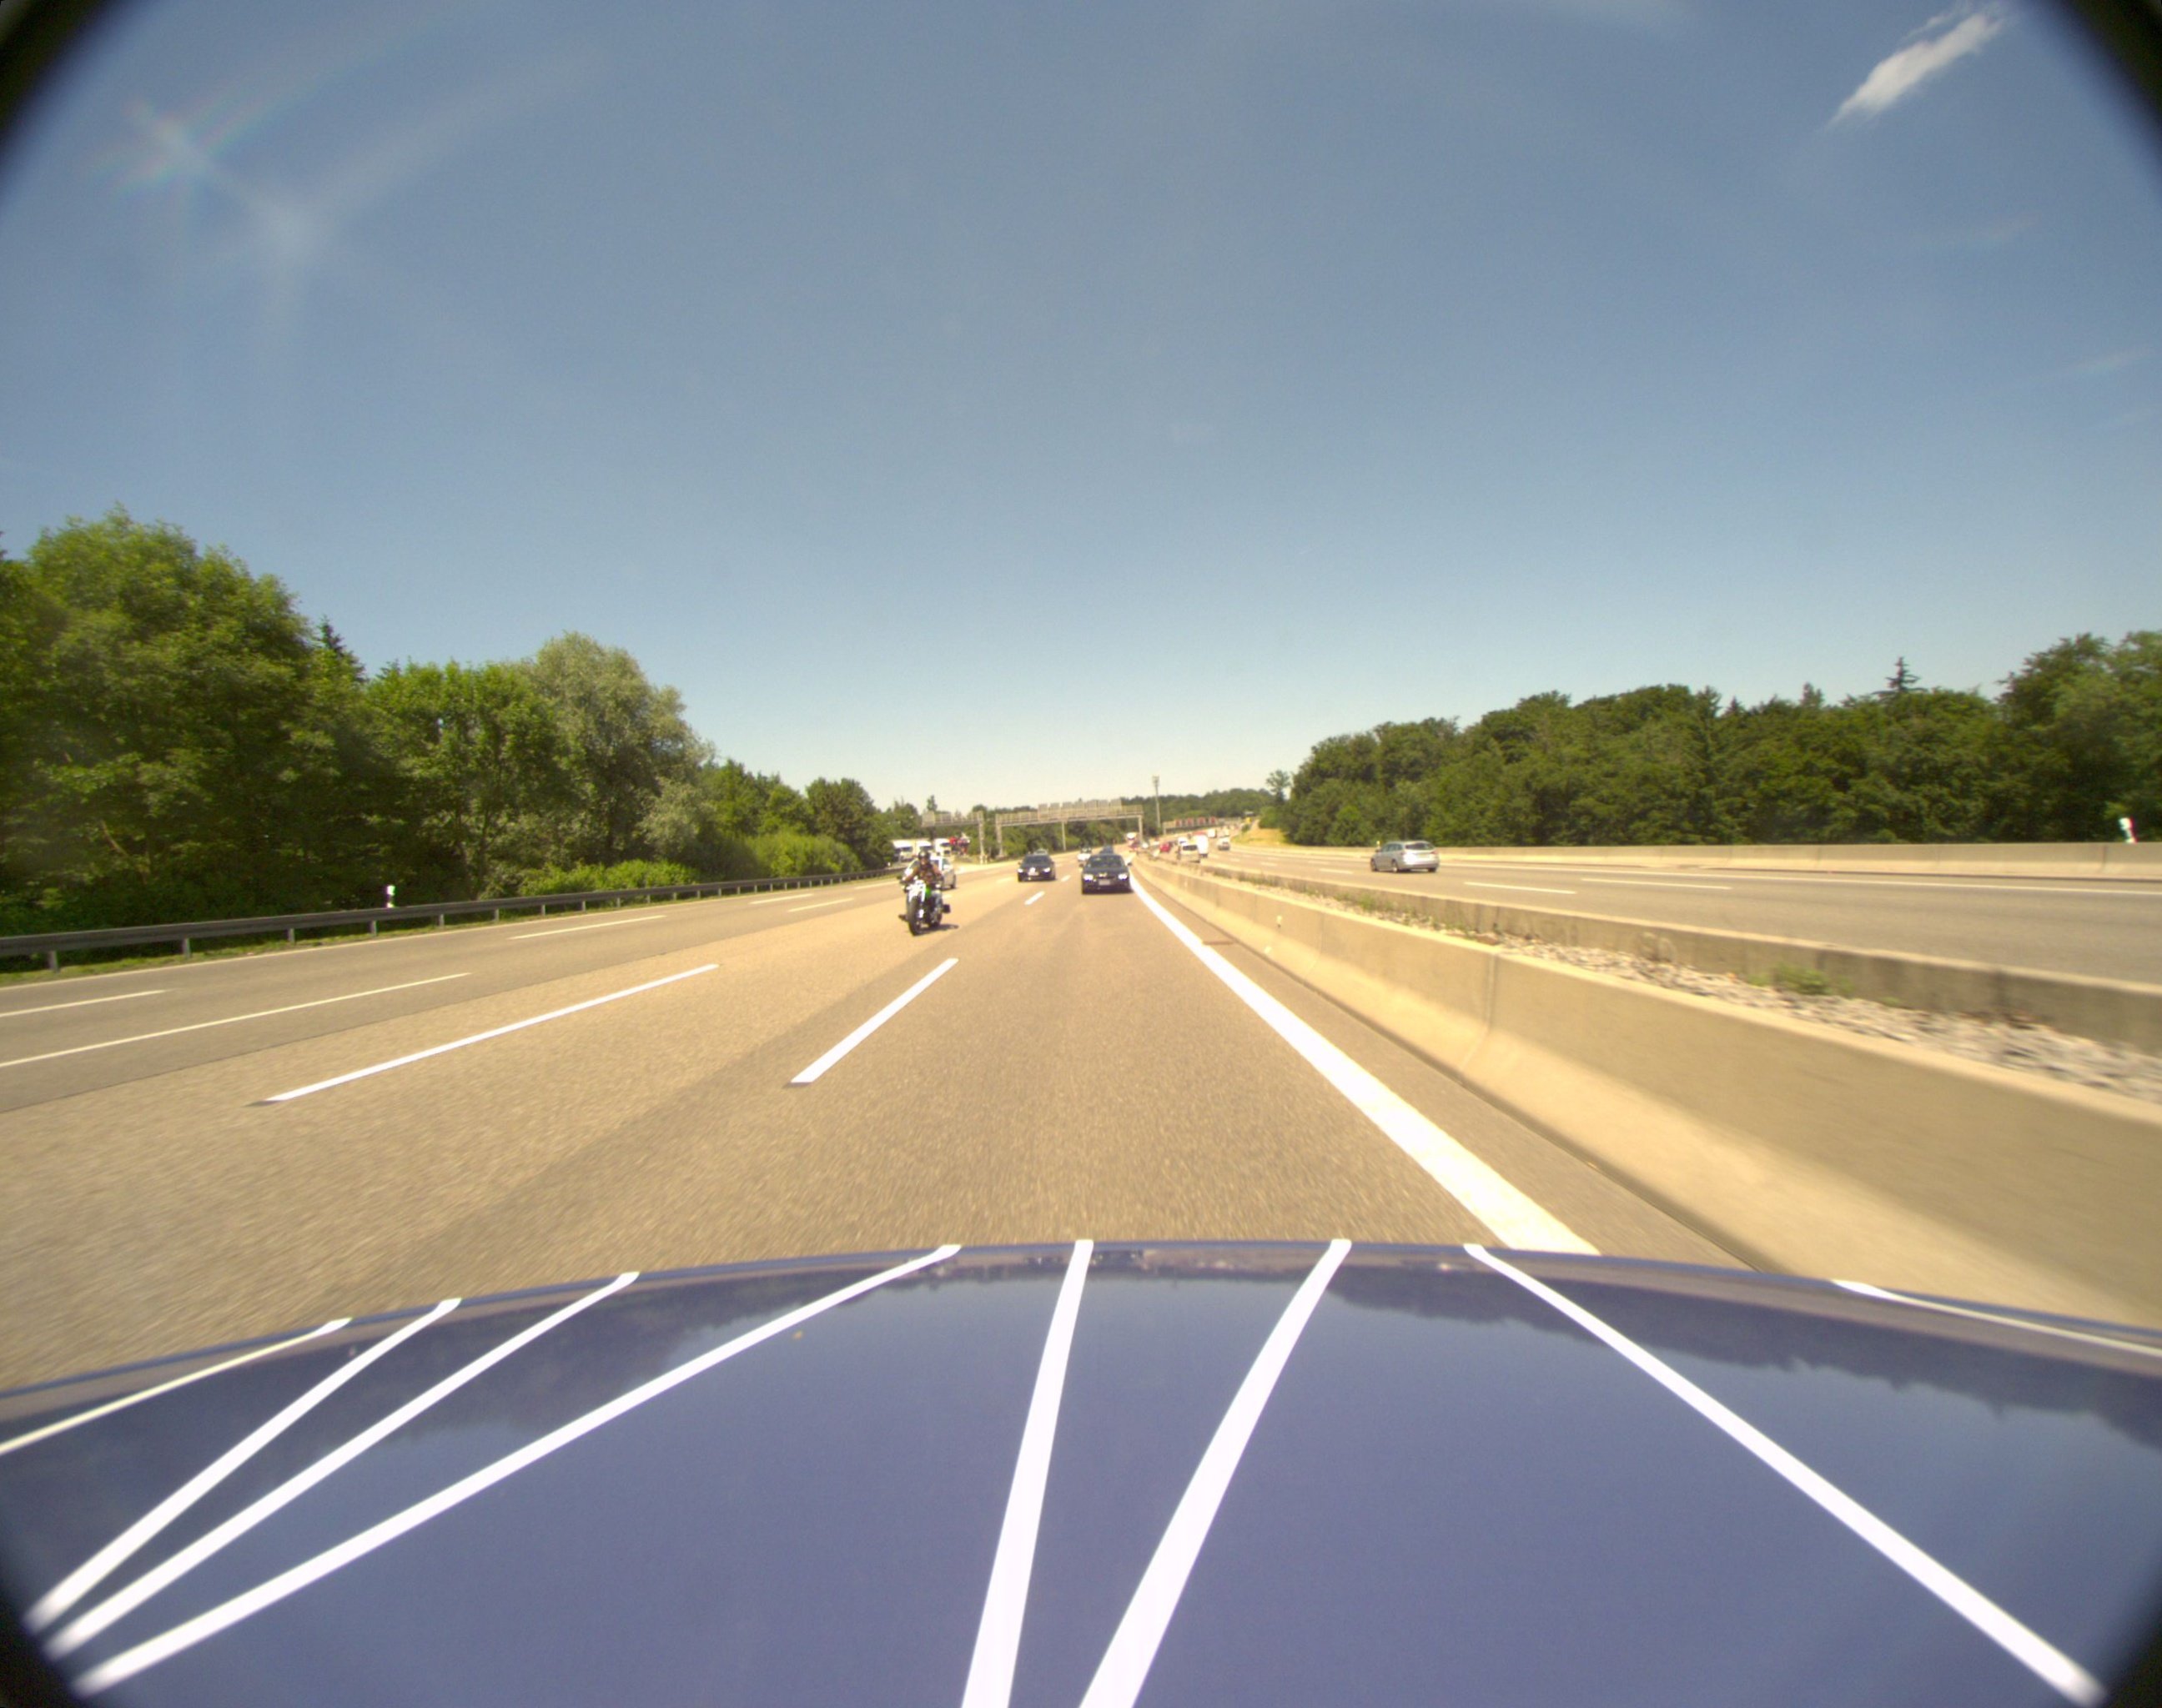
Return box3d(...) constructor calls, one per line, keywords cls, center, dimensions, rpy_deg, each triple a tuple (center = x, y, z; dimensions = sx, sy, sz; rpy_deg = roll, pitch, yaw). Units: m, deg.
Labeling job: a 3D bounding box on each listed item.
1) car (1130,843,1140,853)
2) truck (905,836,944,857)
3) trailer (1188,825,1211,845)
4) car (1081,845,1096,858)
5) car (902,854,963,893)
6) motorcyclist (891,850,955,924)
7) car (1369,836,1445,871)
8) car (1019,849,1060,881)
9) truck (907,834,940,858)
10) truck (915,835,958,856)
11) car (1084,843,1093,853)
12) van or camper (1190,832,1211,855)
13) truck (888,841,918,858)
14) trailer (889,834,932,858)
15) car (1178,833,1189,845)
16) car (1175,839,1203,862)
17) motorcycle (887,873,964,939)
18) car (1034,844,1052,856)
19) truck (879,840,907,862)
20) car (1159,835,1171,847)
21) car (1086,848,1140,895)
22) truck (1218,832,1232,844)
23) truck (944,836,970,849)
box3d(cls="car", center=(11.753, -1.315, 166.335), dimensions=(1.998, 2.002, 4.000), rpy_deg=(-3, 1, 4))
box3d(cls="truck", center=(-35.381, -1.661, 171.391), dimensions=(2.836, 4.436, 12.028), rpy_deg=(-6, 4, -42))
box3d(cls="trailer", center=(26.759, -4.290, 172.238), dimensions=(3.844, 4.256, 14.476), rpy_deg=(-3, 1, 4))
box3d(cls="car", center=(0.969, -0.278, 97.153), dimensions=(1.729, 1.522, 3.740), rpy_deg=(0, 3, 2))
box3d(cls="car", center=(-6.515, 0.796, 33.771), dimensions=(1.754, 1.510, 4.483), rpy_deg=(-2, 1, 0))
box3d(cls="motorcyclist", center=(-3.207, 0.659, 15.501), dimensions=(0.854, 1.419, 1.024), rpy_deg=(-1, 2, 13))
box3d(cls="car", center=(15.230, -0.063, 35.766), dimensions=(1.767, 1.474, 4.494), rpy_deg=(-3, 1, 2))
box3d(cls="car", center=(-2.196, 0.535, 41.258), dimensions=(1.760, 1.431, 3.999), rpy_deg=(-2, 3, 3))
box3d(cls="truck", center=(-32.461, -1.668, 156.728), dimensions=(3.271, 4.699, 7.169), rpy_deg=(-6, 4, -40))
box3d(cls="truck", center=(-33.997, -1.871, 177.677), dimensions=(2.836, 4.434, 14.603), rpy_deg=(-3, 1, -40))
box3d(cls="car", center=(1.697, -1.372, 174.468), dimensions=(1.998, 2.003, 3.998), rpy_deg=(-3, 3, 2))
box3d(cls="van or camper", center=(15.105, -1.345, 96.197), dimensions=(1.998, 2.783, 7.416), rpy_deg=(-2, 1, 5))
box3d(cls="truck", center=(-35.051, -0.971, 149.220), dimensions=(2.458, 3.108, 9.004), rpy_deg=(-6, 3, -34))
box3d(cls="trailer", center=(-36.366, -1.612, 161.363), dimensions=(3.287, 4.682, 12.024), rpy_deg=(-6, 4, -40))
box3d(cls="car", center=(22.024, -3.258, 163.032), dimensions=(1.998, 2.289, 4.591), rpy_deg=(-3, 3, 5))
box3d(cls="car", center=(9.222, -0.298, 64.991), dimensions=(1.823, 1.860, 4.588), rpy_deg=(-2, 1, 2))
box3d(cls="motorcycle", center=(-3.139, 1.017, 15.632), dimensions=(0.536, 1.129, 2.438), rpy_deg=(-1, 2, 13))
box3d(cls="car", center=(-5.416, -0.565, 108.455), dimensions=(1.998, 1.522, 3.999), rpy_deg=(-2, 3, 4))
box3d(cls="truck", center=(-34.049, -0.544, 137.396), dimensions=(2.497, 3.591, 6.309), rpy_deg=(-6, 4, -36))
box3d(cls="car", center=(15.592, -2.408, 140.869), dimensions=(1.911, 1.971, 4.640), rpy_deg=(-3, 2, 3))
box3d(cls="car", center=(1.203, 0.592, 28.061), dimensions=(1.769, 1.496, 4.000), rpy_deg=(-3, 1, 3))
box3d(cls="truck", center=(28.209, -3.160, 149.075), dimensions=(2.051, 2.242, 8.824), rpy_deg=(-3, 2, 6))
box3d(cls="truck", center=(-30.832, -2.784, 188.805), dimensions=(2.003, 2.934, 8.724), rpy_deg=(-6, 4, -40))
